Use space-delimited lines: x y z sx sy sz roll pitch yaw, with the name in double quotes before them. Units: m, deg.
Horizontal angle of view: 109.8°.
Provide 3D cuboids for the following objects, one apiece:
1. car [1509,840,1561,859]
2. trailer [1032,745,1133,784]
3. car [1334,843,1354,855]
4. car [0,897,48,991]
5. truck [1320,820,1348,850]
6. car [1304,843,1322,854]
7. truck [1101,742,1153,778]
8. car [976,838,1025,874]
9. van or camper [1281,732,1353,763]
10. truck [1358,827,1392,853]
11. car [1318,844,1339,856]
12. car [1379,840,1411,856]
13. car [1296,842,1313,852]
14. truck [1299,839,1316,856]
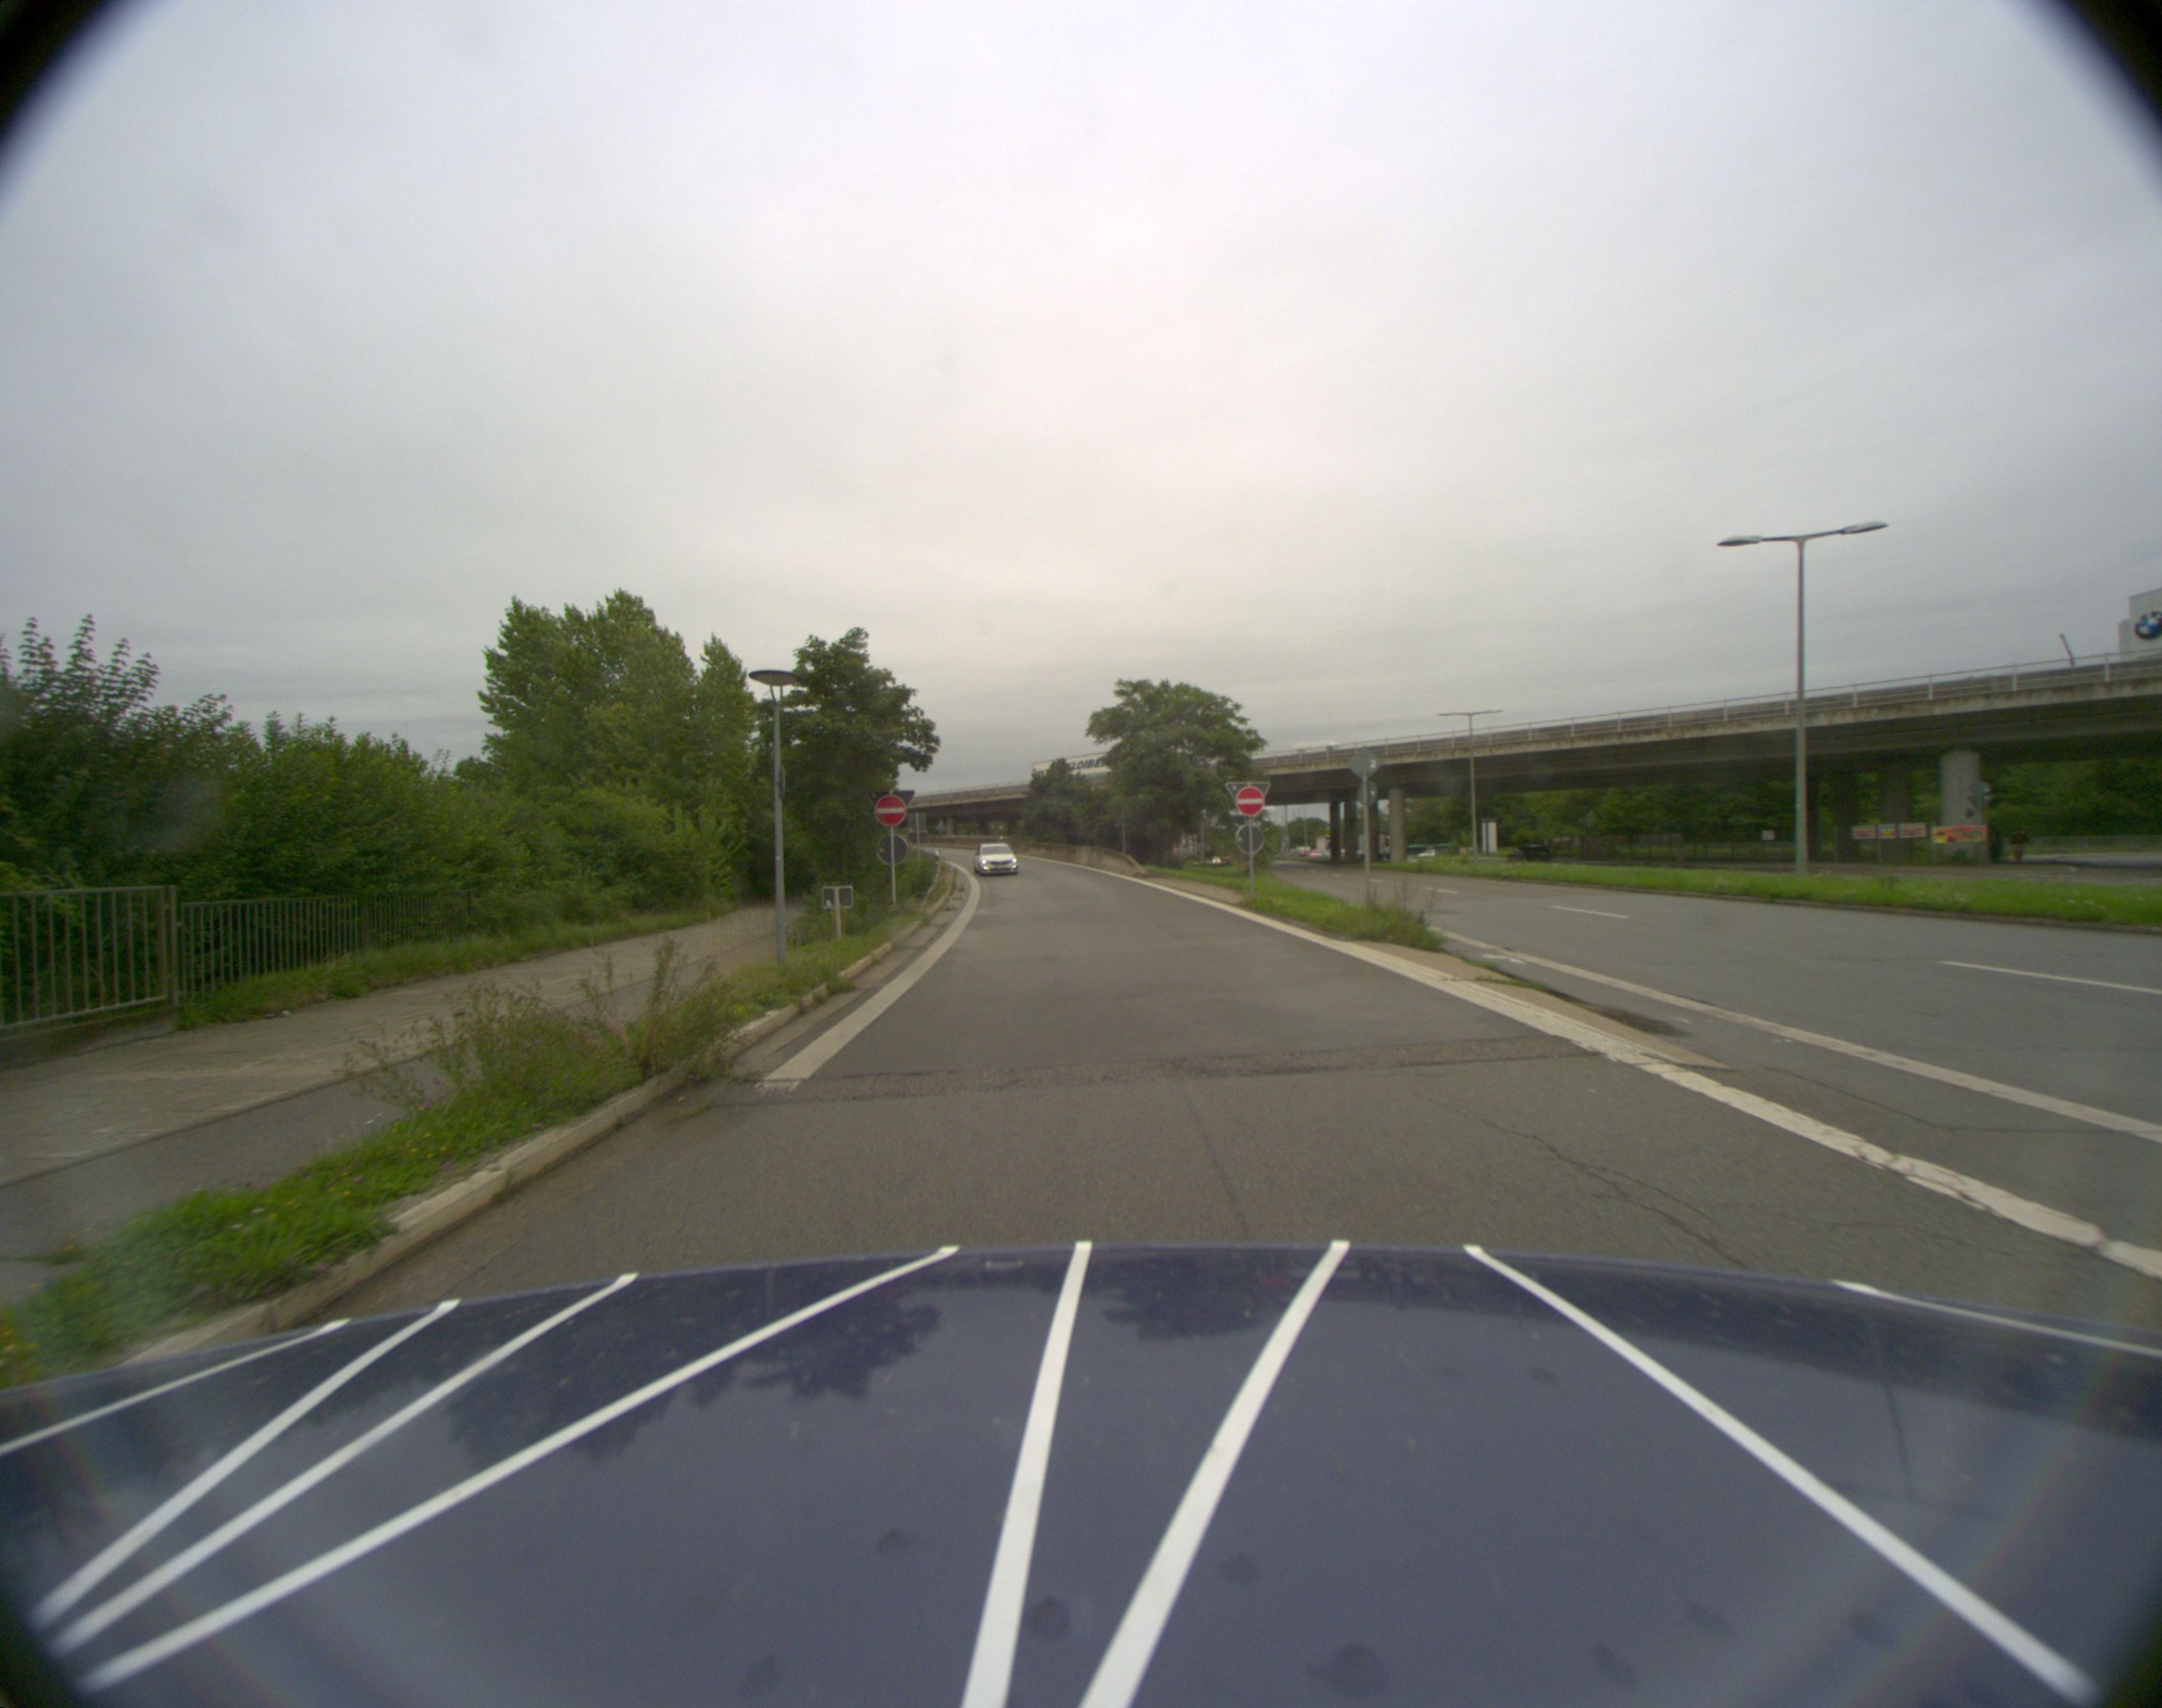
"car" 35.965 -0.407 60.318 1.972 1.389 4.820 0 1 11
"trailer" -0.091 -10.119 87.121 2.671 3.280 14.019 -3 3 -42
"car" 38.184 -0.755 110.376 1.972 1.574 4.594 1 1 10
"car" -18.775 1.404 10.903 1.877 1.520 4.255 -1 -3 7
"truck" 41.039 -3.045 123.354 2.795 4.566 9.607 1 1 10
"car" 36.216 -0.909 118.752 1.972 1.574 4.593 1 1 7
"truck" 4.918 -10.024 81.540 2.602 3.228 5.179 -3 3 -43
"car" -3.925 0.028 36.580 1.916 1.440 4.550 -4 3 -10
"van or camper" 20.330 -9.135 65.711 2.336 2.002 5.491 -3 2 -42
"truck" 35.806 -1.714 92.825 2.257 2.960 7.237 1 1 9
"car" 34.531 -0.582 106.075 1.972 1.574 4.593 1 1 8
"car" 33.464 -0.690 81.042 1.972 1.574 4.593 1 1 7
"car" 37.273 -1.161 126.971 1.973 1.574 4.593 -3 0 8
"truck" 48.710 -1.415 163.582 2.795 3.659 6.647 1 1 10
